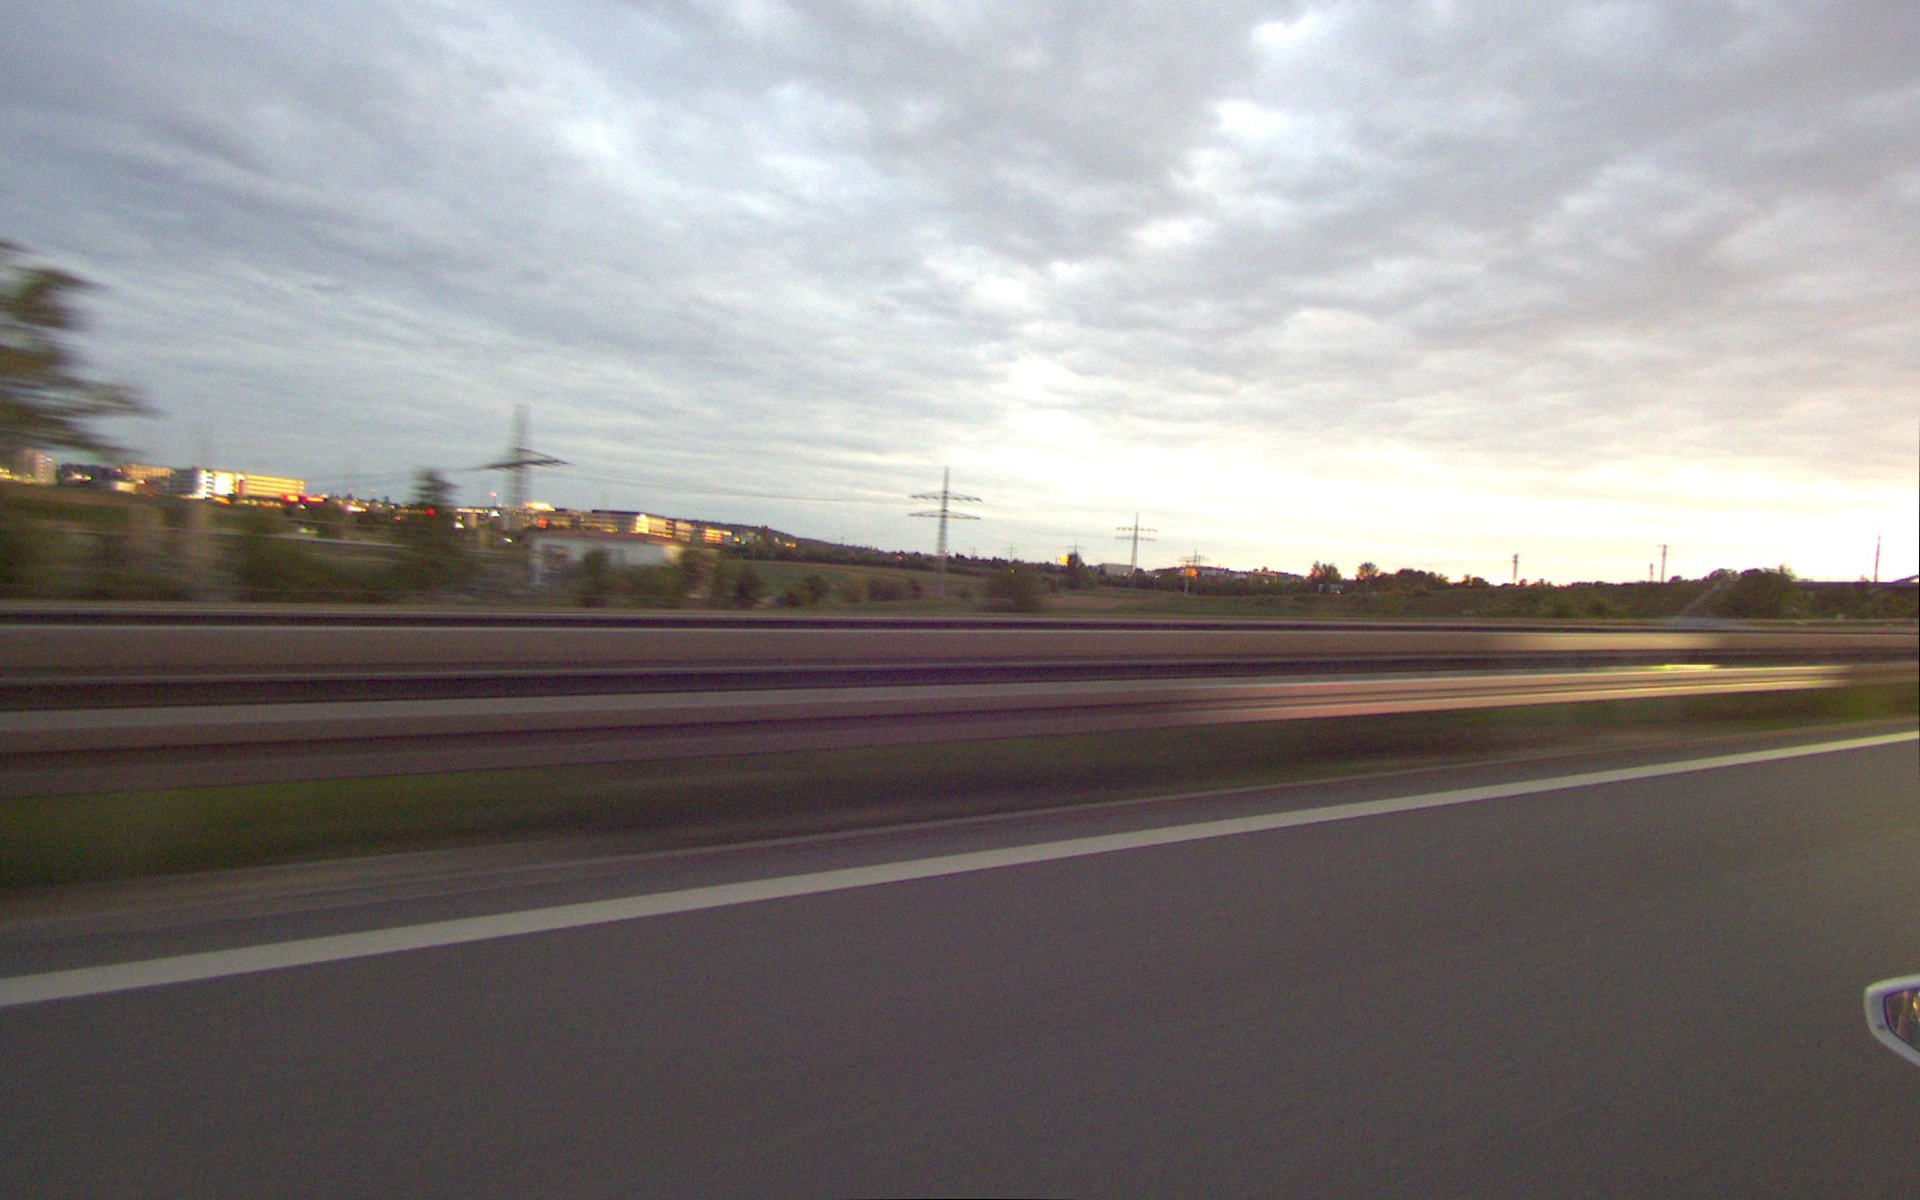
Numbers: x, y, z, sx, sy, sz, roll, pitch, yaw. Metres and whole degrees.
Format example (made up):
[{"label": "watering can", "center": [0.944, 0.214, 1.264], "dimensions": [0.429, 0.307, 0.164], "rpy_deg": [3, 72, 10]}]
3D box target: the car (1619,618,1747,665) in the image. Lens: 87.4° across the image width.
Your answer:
[{"label": "car", "center": [24.248, 1.365, 33.644], "dimensions": [4.749, 1.422, 1.981], "rpy_deg": [2, 0, -34]}]
